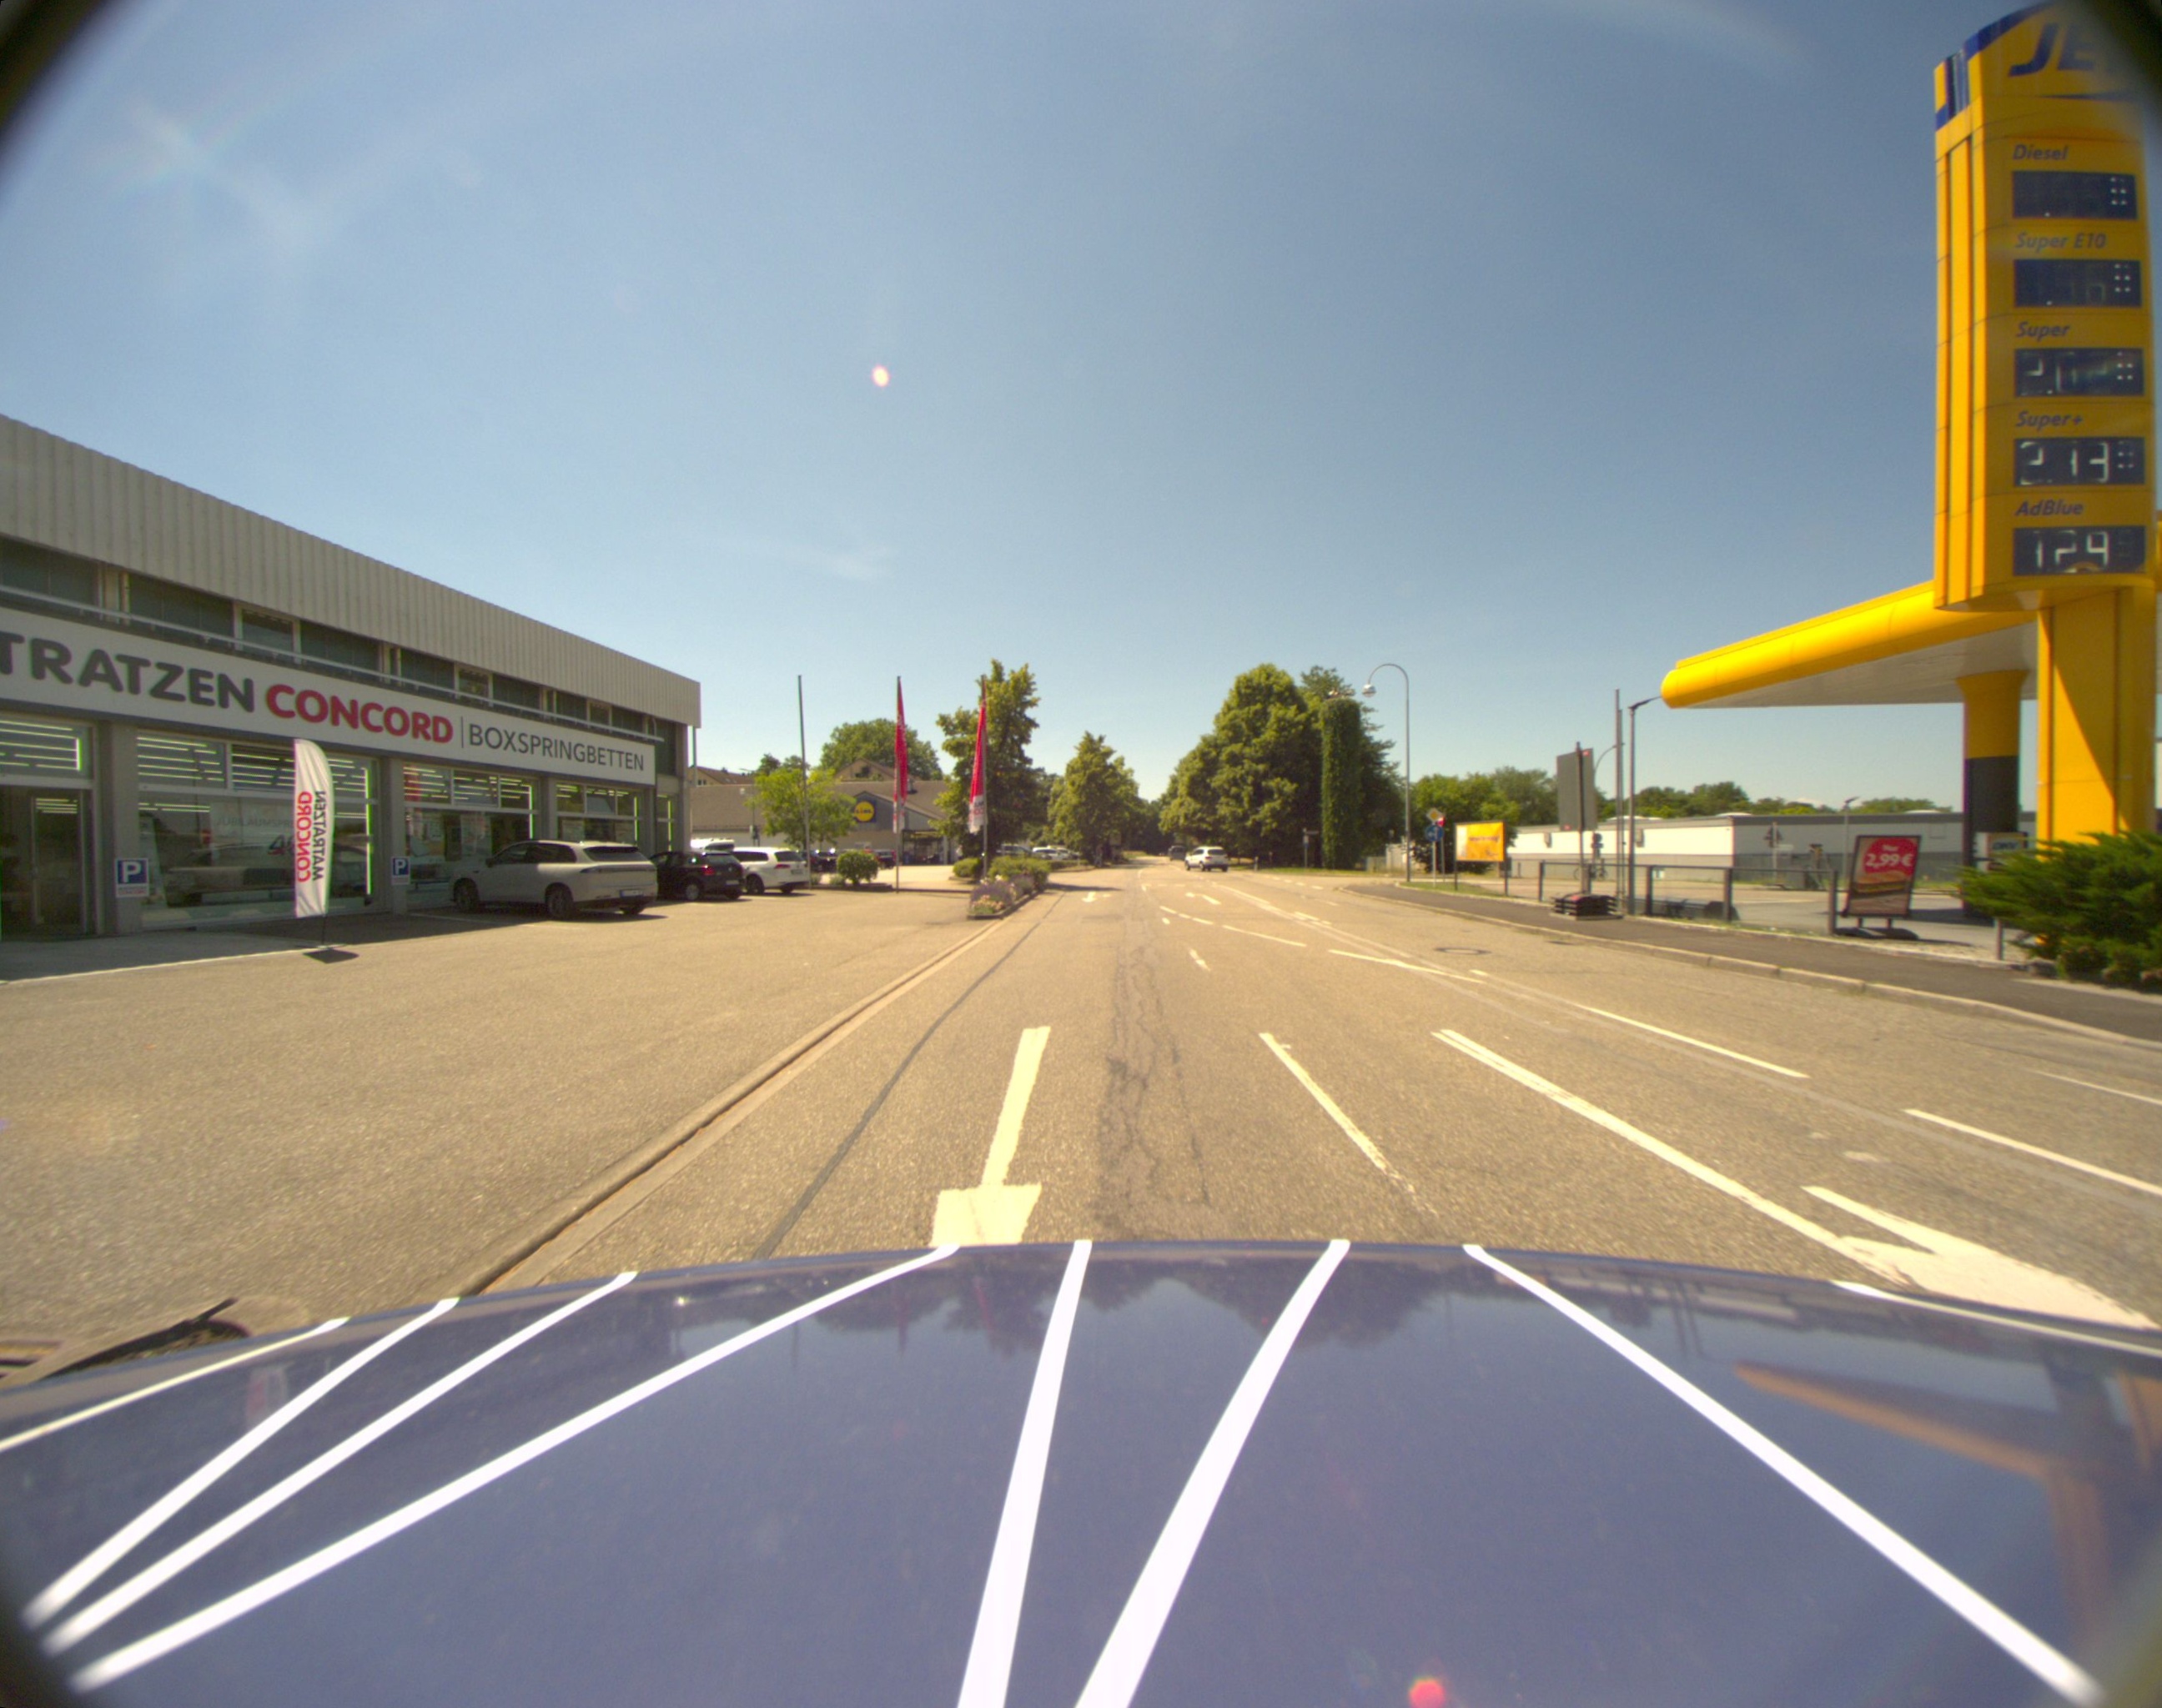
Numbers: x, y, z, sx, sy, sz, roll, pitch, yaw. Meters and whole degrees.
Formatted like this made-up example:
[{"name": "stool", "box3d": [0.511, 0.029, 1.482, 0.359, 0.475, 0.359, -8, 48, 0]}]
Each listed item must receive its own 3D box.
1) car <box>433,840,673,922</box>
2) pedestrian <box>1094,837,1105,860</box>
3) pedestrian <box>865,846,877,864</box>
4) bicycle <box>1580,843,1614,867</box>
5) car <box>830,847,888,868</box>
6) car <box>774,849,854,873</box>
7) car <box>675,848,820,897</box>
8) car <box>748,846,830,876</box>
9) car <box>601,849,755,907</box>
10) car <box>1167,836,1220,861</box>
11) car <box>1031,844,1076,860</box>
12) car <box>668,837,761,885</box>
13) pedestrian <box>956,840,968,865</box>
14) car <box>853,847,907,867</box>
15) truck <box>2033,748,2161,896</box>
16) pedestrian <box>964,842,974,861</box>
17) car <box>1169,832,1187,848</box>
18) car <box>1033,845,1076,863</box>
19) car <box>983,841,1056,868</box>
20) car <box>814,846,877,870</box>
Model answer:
[{"name": "car", "box3d": [-11.706, 0.526, 16.895, 4.586, 1.632, 2.002, 0, 2, 19]}, {"name": "pedestrian", "box3d": [1.439, -0.423, 58.546, 0.730, 1.779, 0.621, 0, 2, 13]}, {"name": "pedestrian", "box3d": [-18.117, 0.068, 65.643, 0.803, 1.543, 0.558, -1, 2, 3]}, {"name": "bicycle", "box3d": [29.501, 0.053, 43.459, 1.539, 1.341, 0.395, 0, 2, 11]}, {"name": "car", "box3d": [-16.074, 0.243, 55.114, 3.604, 1.449, 1.746, -1, 1, 5]}, {"name": "car", "box3d": [-16.546, 0.426, 47.237, 4.253, 1.383, 1.901, -1, 1, 2]}, {"name": "car", "box3d": [-10.717, 0.568, 24.478, 3.992, 1.452, 1.807, 0, 2, 16]}, {"name": "car", "box3d": [-17.143, 0.408, 44.722, 4.030, 1.554, 1.808, -2, 2, 3]}, {"name": "car", "box3d": [-11.585, 0.633, 21.872, 3.859, 1.524, 1.680, 0, 2, 18]}, {"name": "car", "box3d": [7.612, -0.359, 51.866, 1.976, 1.663, 4.242, 0, 0, -16]}, {"name": "car", "box3d": [-2.663, -0.228, 73.588, 4.240, 1.403, 1.953, -1, 1, 2]}, {"name": "car", "box3d": [-15.271, 0.220, 31.923, 1.709, 1.880, 4.256, -1, 1, 1]}, {"name": "pedestrian", "box3d": [-9.727, -0.102, 61.917, 0.784, 2.002, 0.803, -1, 2, 3]}, {"name": "car", "box3d": [-15.185, 0.217, 57.534, 3.604, 1.409, 1.672, -1, 1, 5]}, {"name": "truck", "box3d": [19.848, -0.545, 11.809, 2.238, 2.584, 6.734, -1, 1, 8]}, {"name": "pedestrian", "box3d": [-10.351, -0.272, 70.305, 0.699, 1.743, 0.785, 0, 1, 10]}, {"name": "car", "box3d": [11.858, -1.708, 93.024, 1.800, 1.762, 4.366, 2, -1, 4]}, {"name": "car", "box3d": [-2.182, -0.014, 63.049, 3.405, 1.498, 1.582, 0, 1, 2]}, {"name": "car", "box3d": [-4.050, 0.014, 50.446, 4.522, 1.658, 1.895, -1, 1, 9]}, {"name": "car", "box3d": [-16.307, 0.267, 52.782, 3.730, 1.495, 1.819, -1, 1, 5]}]
